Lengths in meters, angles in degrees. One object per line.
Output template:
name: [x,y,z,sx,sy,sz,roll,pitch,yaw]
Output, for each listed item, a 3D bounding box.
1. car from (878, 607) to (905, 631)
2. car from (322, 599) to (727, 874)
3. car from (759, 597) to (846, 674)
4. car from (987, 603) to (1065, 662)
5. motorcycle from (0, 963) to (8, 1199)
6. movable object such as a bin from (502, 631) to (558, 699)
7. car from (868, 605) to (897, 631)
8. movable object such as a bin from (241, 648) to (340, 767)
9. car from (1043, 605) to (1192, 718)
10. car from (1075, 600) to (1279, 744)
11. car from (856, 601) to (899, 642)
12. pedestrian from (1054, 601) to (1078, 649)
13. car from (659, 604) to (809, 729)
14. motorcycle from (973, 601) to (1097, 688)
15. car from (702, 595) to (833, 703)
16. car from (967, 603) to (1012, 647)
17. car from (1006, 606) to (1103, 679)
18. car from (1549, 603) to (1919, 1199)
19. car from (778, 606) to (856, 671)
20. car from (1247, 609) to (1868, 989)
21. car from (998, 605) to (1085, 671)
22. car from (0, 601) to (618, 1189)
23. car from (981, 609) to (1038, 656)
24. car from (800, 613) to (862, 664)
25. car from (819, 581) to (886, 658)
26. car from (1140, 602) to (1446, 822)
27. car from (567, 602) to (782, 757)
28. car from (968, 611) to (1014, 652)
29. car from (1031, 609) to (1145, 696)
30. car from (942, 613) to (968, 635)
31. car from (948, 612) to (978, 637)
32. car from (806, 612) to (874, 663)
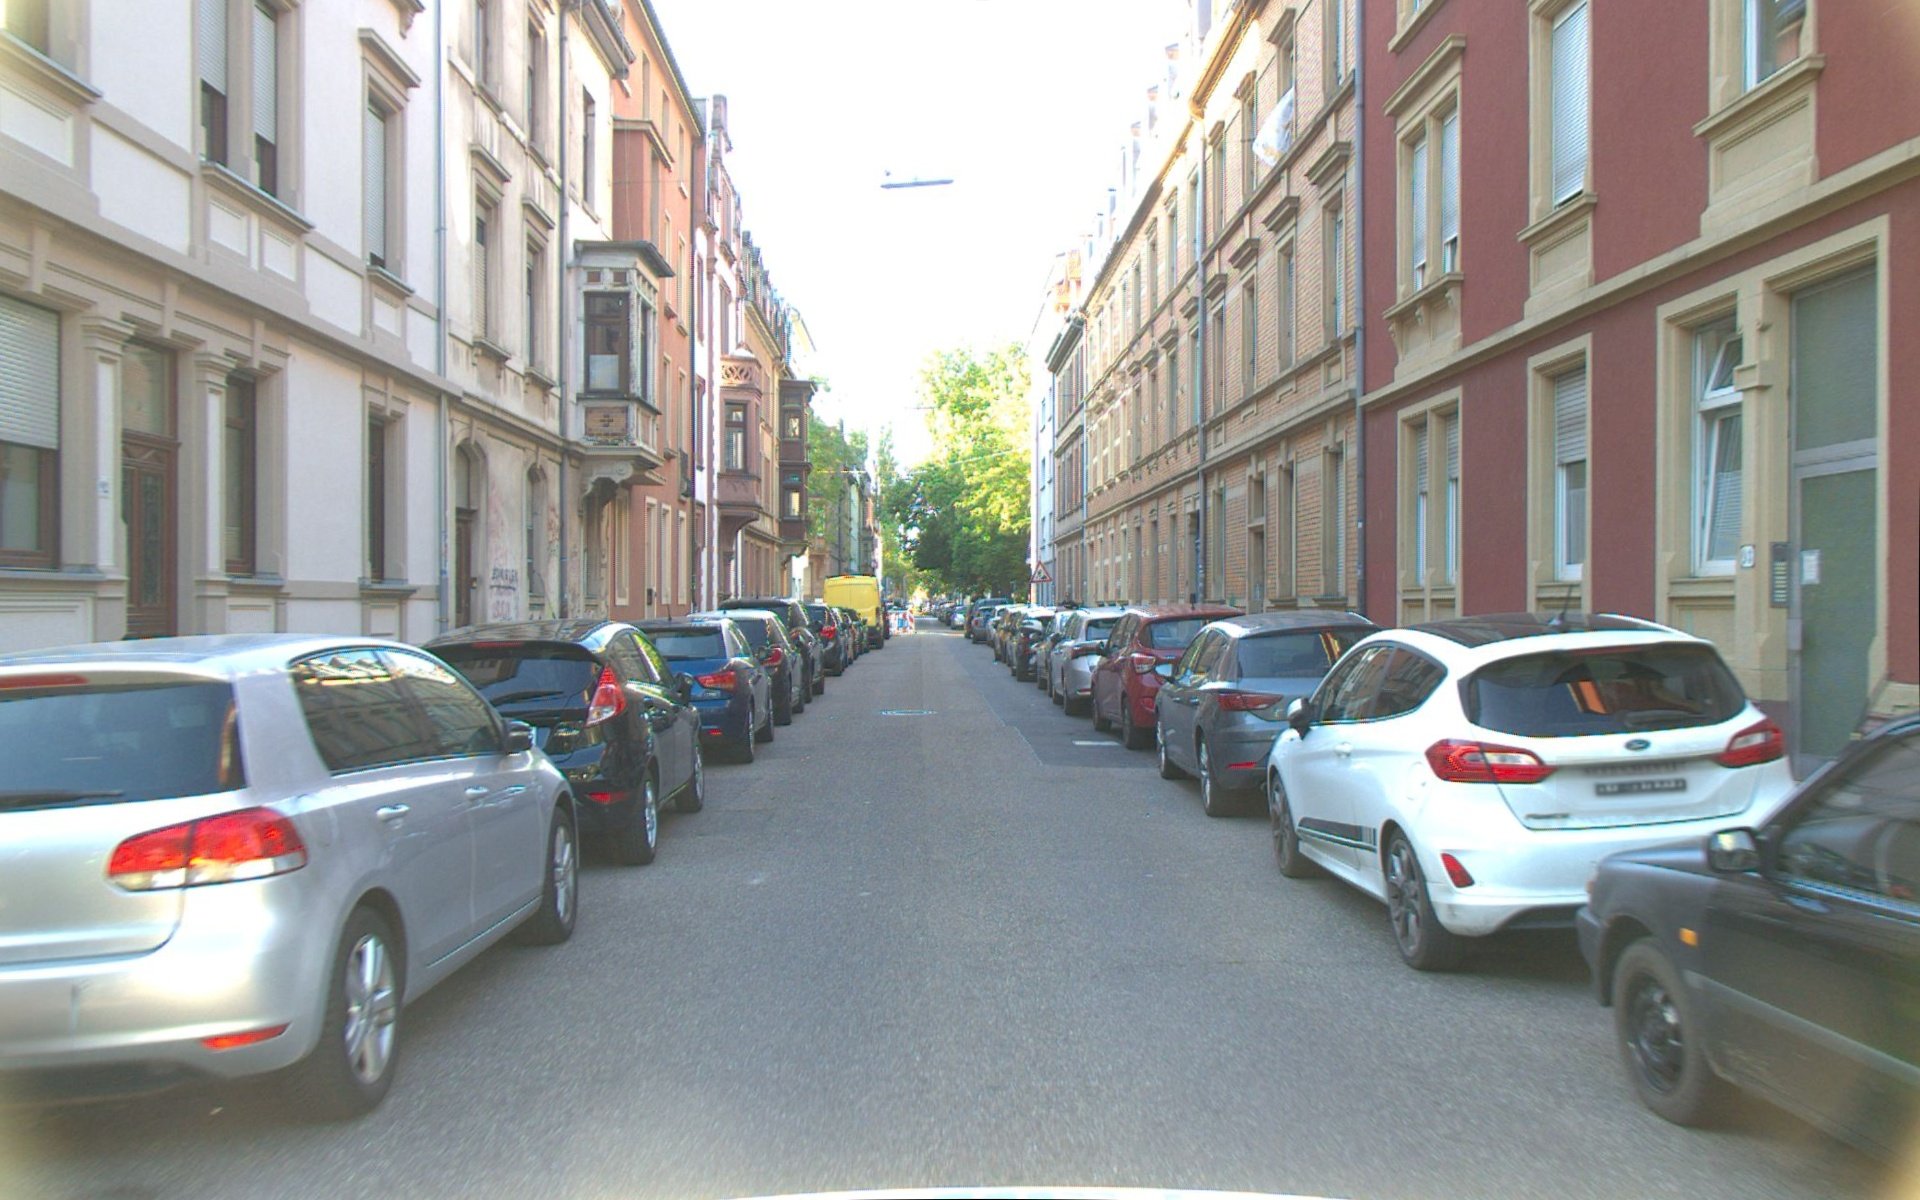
car: [-6.246,1.734,150.967,2.262,2.151,5.168,0,-1,0]
car: [-2.674,0.773,11.045,1.745,1.509,3.742,1,0,-1]
car: [-3.499,0.780,37.398,1.745,1.634,4.067,1,0,-3]
car: [1.791,0.893,45.991,1.719,1.471,4.066,-3,-1,-3]
motorcycle: [-2.546,0.871,3.015,0.664,1.357,1.997,-2,0,-8]
movable object such as a bin: [-6.095,0.910,23.480,0.600,0.936,0.733,1,-1,-2]
car: [-5.301,1.254,113.164,1.843,1.737,3.999,-1,-1,-1]
movable object such as a bin: [-5.719,0.908,14.159,0.609,0.972,0.511,2,-1,-2]
car: [2.221,0.830,24.384,1.726,1.510,4.400,0,0,-1]
car: [2.424,0.763,19.361,1.626,1.505,4.021,0,0,-4]
car: [-3.726,0.961,74.044,1.783,1.797,4.331,1,-1,-4]
pedestrian: [3.677,0.868,57.224,0.639,1.659,0.881,-2,-1,14]
car: [-2.964,0.829,22.335,1.610,1.481,3.837,-2,0,-2]
motorcycle: [1.455,0.861,31.903,2.193,1.563,0.882,3,-1,-28]
car: [-3.114,0.769,27.518,1.725,1.646,4.188,0,0,-1]
car: [1.273,1.087,72.916,1.718,1.817,4.722,-2,0,-2]
car: [1.946,0.853,35.066,1.741,1.421,4.316,1,0,-1]
car: [2.964,0.771,3.997,1.635,1.509,3.704,1,0,-2]
car: [-3.580,0.940,41.838,1.660,1.500,3.918,-2,0,-1]
car: [2.709,0.802,8.510,1.671,1.488,3.968,1,0,-2]
car: [1.976,0.911,41.250,1.691,1.442,4.091,-4,0,-3]
car: [-2.610,0.770,6.250,1.744,1.509,3.932,1,0,1]
car: [1.823,1.172,61.604,1.719,1.544,4.441,-4,0,-2]
car: [-3.706,1.099,47.845,1.585,1.350,3.610,-2,0,-2]
car: [-3.786,0.698,59.333,2.131,2.552,5.875,-2,0,-2]
car: [2.566,0.793,13.675,1.642,1.529,4.068,1,0,-1]
car: [-2.859,0.757,17.264,1.745,1.428,3.740,1,0,-3]
car: [1.217,1.255,67.474,1.718,1.478,4.287,-4,0,0]
car: [2.211,0.878,29.449,1.657,1.431,3.991,0,0,-1]
car: [-0.374,1.845,128.254,1.856,1.654,3.998,1,-1,-2]
car: [0.160,1.581,106.985,1.690,1.549,3.996,0,0,-4]
car: [-3.788,1.153,52.653,1.683,1.437,3.898,-4,-1,1]
